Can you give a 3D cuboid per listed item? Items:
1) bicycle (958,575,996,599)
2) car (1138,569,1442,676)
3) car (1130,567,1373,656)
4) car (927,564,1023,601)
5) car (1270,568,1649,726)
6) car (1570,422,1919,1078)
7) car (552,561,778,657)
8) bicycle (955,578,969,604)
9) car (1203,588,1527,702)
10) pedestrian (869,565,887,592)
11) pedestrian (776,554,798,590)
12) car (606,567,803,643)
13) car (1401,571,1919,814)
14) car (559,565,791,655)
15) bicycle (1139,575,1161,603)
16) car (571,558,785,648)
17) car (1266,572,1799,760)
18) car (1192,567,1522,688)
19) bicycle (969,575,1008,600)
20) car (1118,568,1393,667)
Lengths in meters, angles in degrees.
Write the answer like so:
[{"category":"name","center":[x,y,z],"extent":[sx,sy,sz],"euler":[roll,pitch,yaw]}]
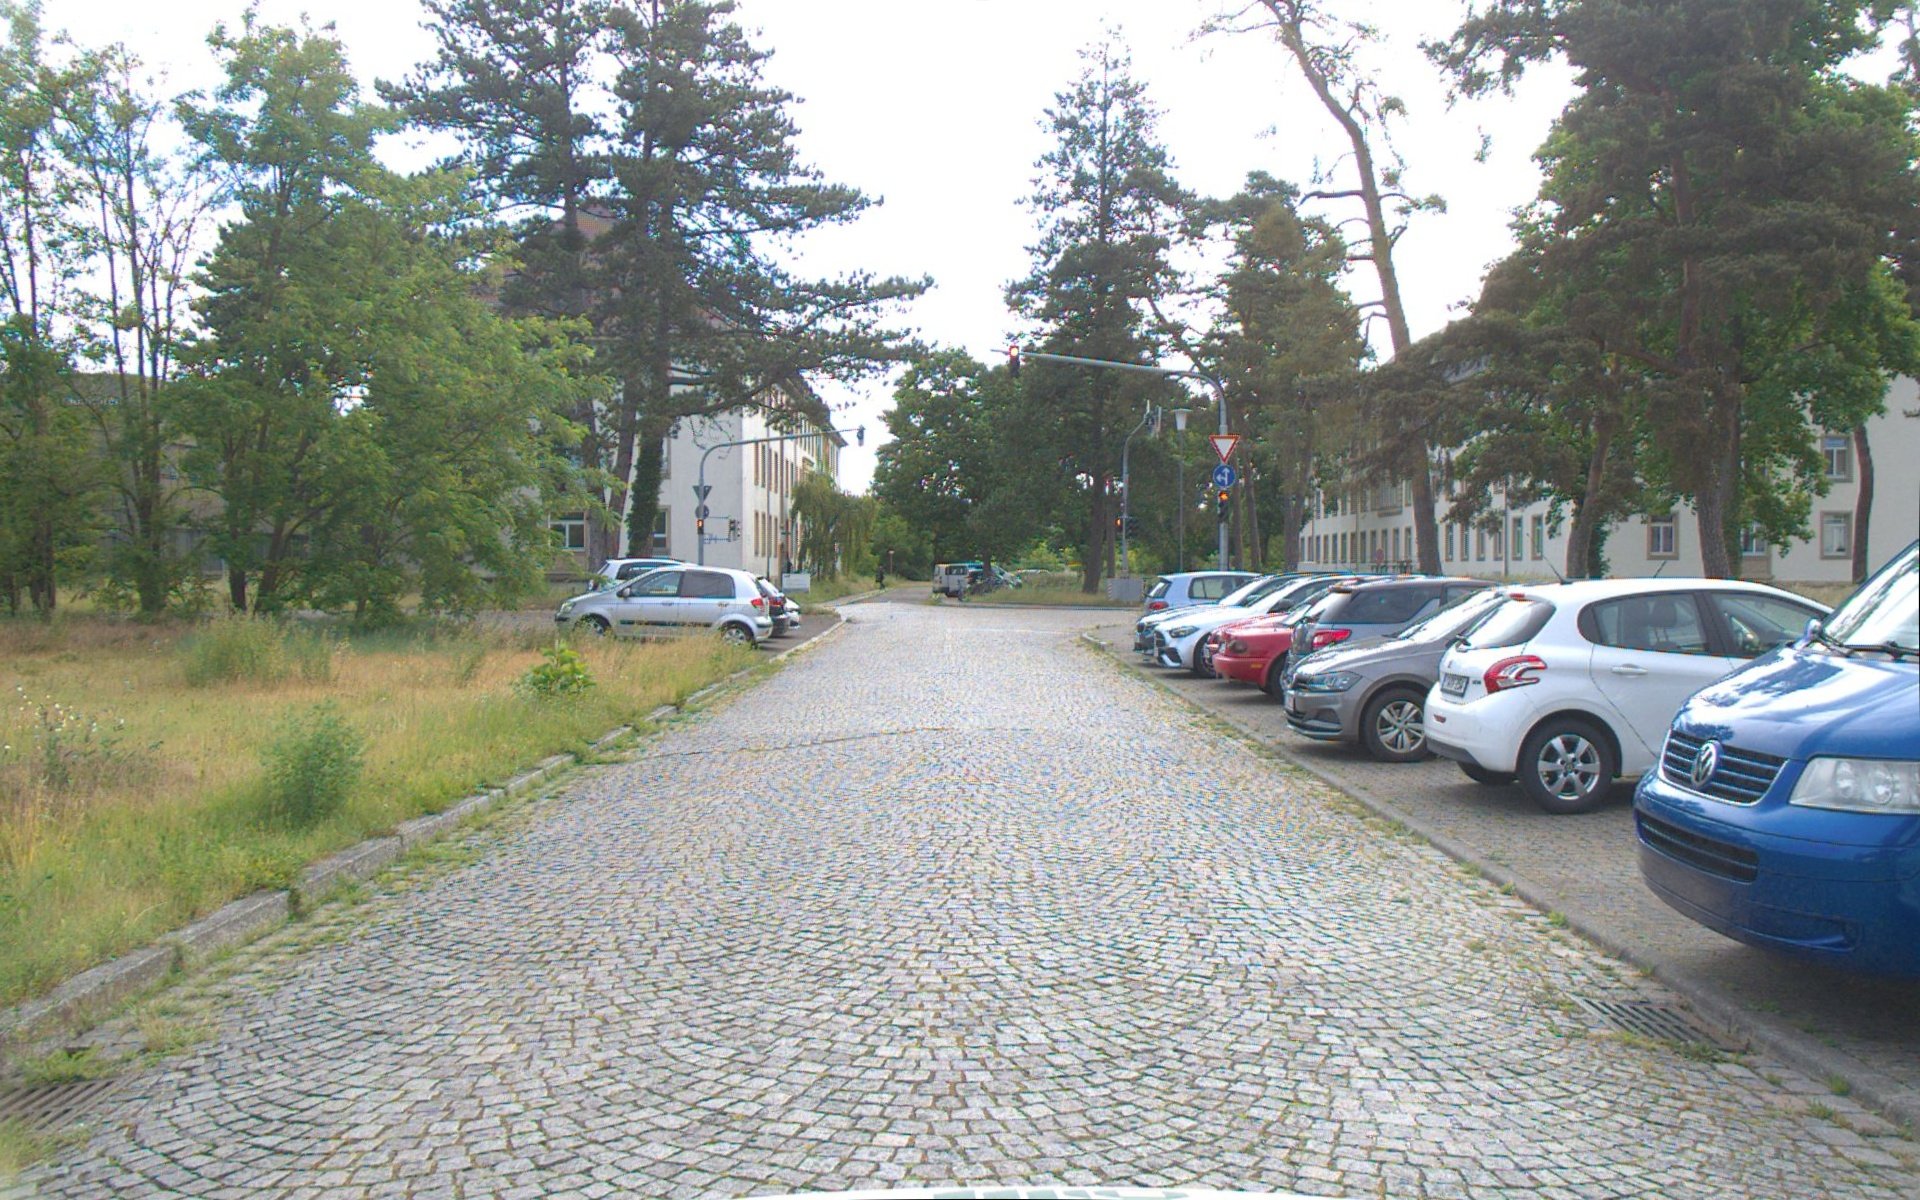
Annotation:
[{"category":"bicycle","center":[0.876,-0.666,85.527],"extent":[1.845,1.191,0.664],"euler":[1,0,-6]},{"category":"car","center":[4.860,0.302,24.640],"extent":[4.106,1.462,1.752],"euler":[-1,1,-8]},{"category":"car","center":[5.242,0.187,29.963],"extent":[4.055,1.489,1.632],"euler":[-1,1,-6]},{"category":"car","center":[0.878,-1.049,96.832],"extent":[5.283,2.138,2.172],"euler":[0,1,-13]},{"category":"car","center":[5.135,0.452,17.313],"extent":[3.434,1.513,1.743],"euler":[-1,1,-1]},{"category":"car","center":[5.011,0.413,6.229],"extent":[4.699,2.039,1.965],"euler":[-1,1,-2]},{"category":"car","center":[-5.097,0.139,28.923],"extent":[3.647,1.506,1.672],"euler":[2,1,-3]},{"category":"bicycle","center":[0.087,-0.432,77.390],"extent":[0.649,1.191,1.888],"euler":[1,1,0]},{"category":"car","center":[4.801,0.520,19.937],"extent":[3.513,1.244,1.629],"euler":[-1,1,1]},{"category":"pedestrian","center":[-6.273,-1.632,126.383],"extent":[1.215,1.993,1.120],"euler":[1,0,-6]},{"category":"pedestrian","center":[-9.869,-1.591,94.415],"extent":[1.052,1.993,1.121],"euler":[1,0,0]},{"category":"car","center":[-5.615,0.082,36.774],"extent":[4.215,1.581,1.810],"euler":[-1,1,-6]},{"category":"car","center":[5.108,0.580,11.542],"extent":[3.579,1.504,1.765],"euler":[-1,1,-1]},{"category":"car","center":[-5.342,0.162,31.518],"extent":[4.215,1.581,1.810],"euler":[-1,1,-6]},{"category":"bicycle","center":[7.656,-0.444,66.833],"extent":[0.649,1.069,1.888],"euler":[1,1,0]},{"category":"car","center":[-5.784,0.037,34.317],"extent":[4.215,1.762,1.651],"euler":[-1,1,-6]},{"category":"car","center":[4.857,0.524,14.444],"extent":[4.046,1.472,1.766],"euler":[-1,1,0]},{"category":"car","center":[5.277,0.338,22.282],"extent":[4.022,1.502,1.684],"euler":[-1,1,-2]},{"category":"bicycle","center":[1.393,-0.607,82.036],"extent":[1.845,1.191,0.664],"euler":[1,0,-6]},{"category":"car","center":[4.861,0.249,27.406],"extent":[4.153,1.505,1.705],"euler":[-1,1,-11]}]
